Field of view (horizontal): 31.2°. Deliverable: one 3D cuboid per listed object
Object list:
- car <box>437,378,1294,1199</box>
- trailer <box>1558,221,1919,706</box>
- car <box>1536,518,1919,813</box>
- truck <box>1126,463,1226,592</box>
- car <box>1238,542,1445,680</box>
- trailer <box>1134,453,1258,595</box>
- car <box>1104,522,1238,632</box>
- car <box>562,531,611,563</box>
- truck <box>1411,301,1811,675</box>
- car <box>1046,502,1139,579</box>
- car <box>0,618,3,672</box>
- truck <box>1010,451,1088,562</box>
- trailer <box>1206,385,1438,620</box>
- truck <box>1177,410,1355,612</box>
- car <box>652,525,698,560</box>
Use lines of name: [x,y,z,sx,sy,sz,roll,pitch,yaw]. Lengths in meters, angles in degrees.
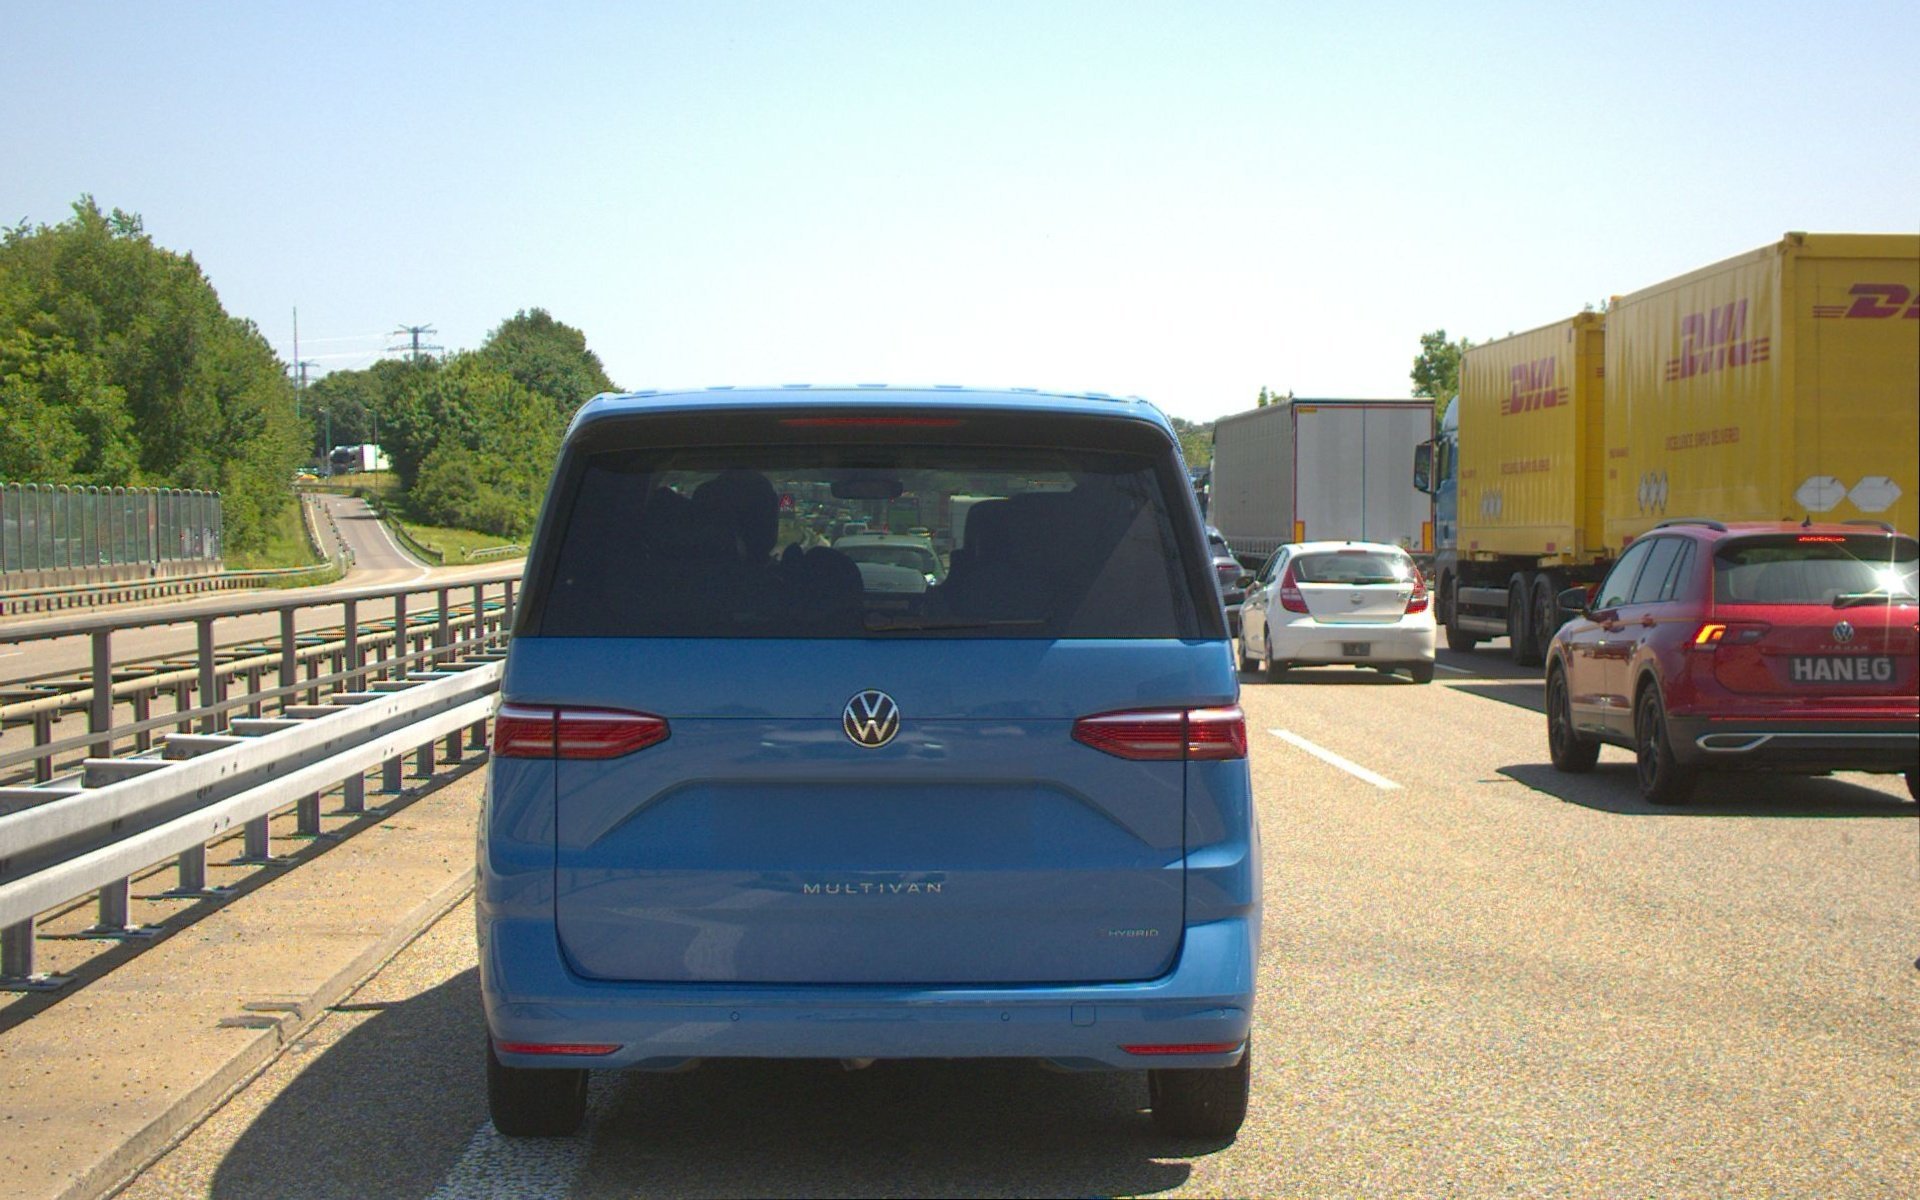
car: [-0.243,0.392,9.571,1.882,1.831,4.000,0,1,-1]
trailer: [8.010,-1.165,33.072,2.701,4.010,8.931,1,1,-1]
car: [4.770,0.315,20.727,1.851,1.603,4.000,0,1,-1]
truck: [6.392,-2.124,102.393,2.367,3.709,6.034,1,0,-2]
car: [4.083,0.082,37.313,1.838,1.409,4.000,0,1,1]
trailer: [6.539,-2.062,96.769,2.379,3.731,11.189,1,1,-2]
car: [3.135,-0.333,51.743,1.715,1.581,3.821,0,0,-1]
car: [-16.843,-2.388,155.330,1.800,1.381,4.263,1,1,-1]
truck: [7.790,-1.273,42.716,2.722,4.040,10.337,1,1,-1]
car: [2.763,-1.252,72.356,1.715,1.535,3.821,-1,1,-1]
car: [-12.972,0.268,40.879,1.856,1.393,4.675,-3,1,-1]
truck: [4.165,-4.364,163.089,2.833,5.023,11.147,1,1,-3]
trailer: [6.831,-1.787,66.680,2.754,4.132,11.313,1,1,-3]
truck: [6.495,-1.869,73.961,2.768,4.081,6.985,1,1,-3]
car: [-13.085,-2.628,157.803,1.840,1.524,3.558,-2,1,-1]
